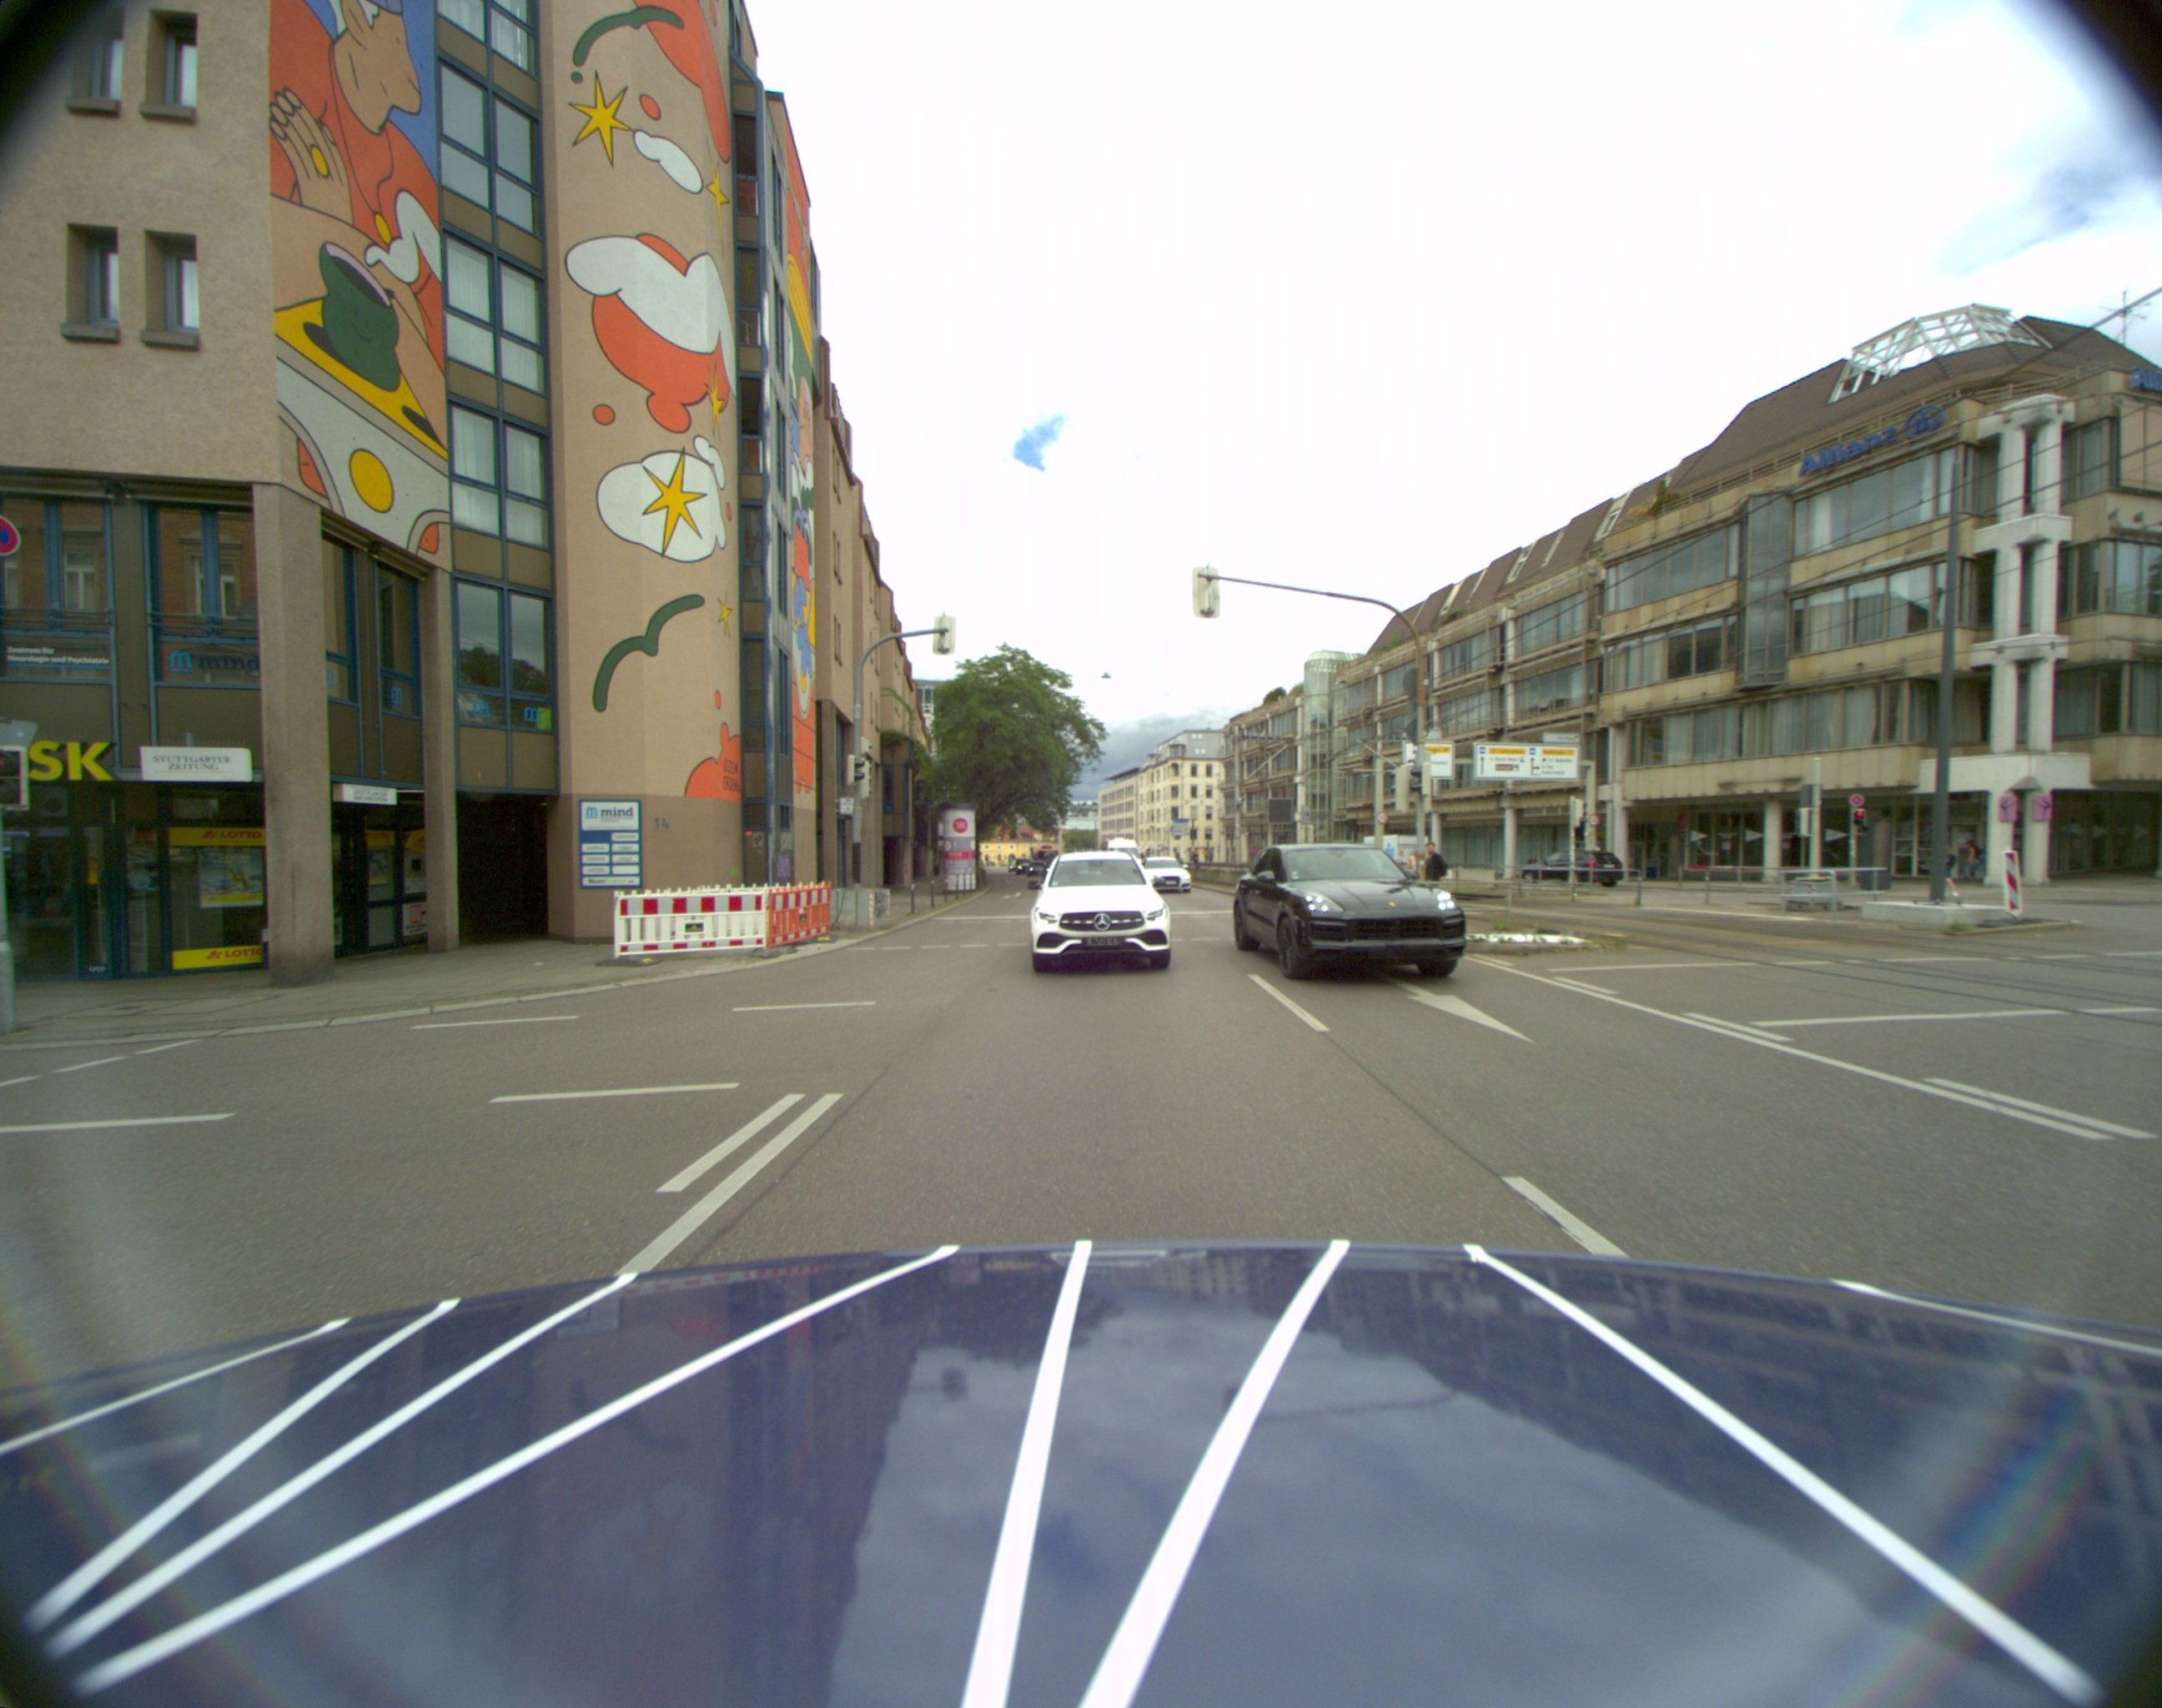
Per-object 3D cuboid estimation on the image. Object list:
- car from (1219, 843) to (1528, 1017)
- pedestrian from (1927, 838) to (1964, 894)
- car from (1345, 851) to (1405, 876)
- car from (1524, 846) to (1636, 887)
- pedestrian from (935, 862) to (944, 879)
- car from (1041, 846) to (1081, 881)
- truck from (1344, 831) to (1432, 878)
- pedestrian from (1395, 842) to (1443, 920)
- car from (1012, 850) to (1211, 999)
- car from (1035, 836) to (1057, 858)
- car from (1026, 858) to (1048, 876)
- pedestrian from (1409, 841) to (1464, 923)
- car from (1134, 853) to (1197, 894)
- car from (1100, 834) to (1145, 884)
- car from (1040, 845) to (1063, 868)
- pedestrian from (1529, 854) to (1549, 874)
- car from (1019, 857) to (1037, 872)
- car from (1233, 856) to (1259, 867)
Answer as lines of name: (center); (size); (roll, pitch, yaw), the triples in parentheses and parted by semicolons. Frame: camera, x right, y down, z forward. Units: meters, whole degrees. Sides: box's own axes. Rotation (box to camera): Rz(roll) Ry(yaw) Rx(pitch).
car: (3.383, 0.710, 10.187); (2.088, 1.665, 5.351); (-2, 1, 0)
pedestrian: (27.853, 0.379, 24.486); (0.511, 1.769, 0.577); (-1, 0, 1)
car: (18.771, 0.588, 48.751); (1.662, 1.543, 4.532); (-1, 0, -7)
car: (23.428, 0.556, 35.928); (1.679, 1.749, 4.778); (-2, 0, -8)
pedestrian: (-13.856, 1.625, 74.460); (0.711, 1.701, 0.687); (-1, 0, -1)
car: (-1.330, 0.611, 51.695); (2.503, 2.144, 5.727); (-2, 0, -1)
truck: (21.475, 0.037, 53.641); (2.274, 3.058, 7.368); (1, 0, -8)
pedestrian: (7.644, 0.600, 17.192); (0.766, 1.711, 0.637); (-1, 0, -2)
car: (0.192, 0.794, 10.586); (2.061, 1.599, 3.924); (-2, 0, -8)
car: (-4.867, -0.908, 104.379); (2.504, 2.793, 5.724); (-2, 0, -6)
car: (-4.061, 1.173, 69.843); (1.950, 1.521, 3.998); (-2, 0, -3)
pedestrian: (7.670, 0.600, 16.407); (0.794, 1.711, 0.772); (-1, 0, -2)
car: (3.435, 0.747, 31.575); (1.950, 1.521, 3.999); (-2, 0, -3)
car: (2.375, 0.257, 44.834); (2.295, 2.723, 4.753); (-2, 0, 0)
car: (-3.813, 0.351, 96.974); (2.504, 2.793, 5.724); (-2, 0, -6)
pedestrian: (29.397, 0.638, 48.766); (0.733, 1.258, 0.739); (-2, 1, -7)
car: (-5.835, 1.170, 83.939); (1.950, 1.521, 3.998); (-2, 0, -3)
car: (25.357, 1.200, 116.805); (3.601, 1.651, 1.648); (0, 0, -11)
